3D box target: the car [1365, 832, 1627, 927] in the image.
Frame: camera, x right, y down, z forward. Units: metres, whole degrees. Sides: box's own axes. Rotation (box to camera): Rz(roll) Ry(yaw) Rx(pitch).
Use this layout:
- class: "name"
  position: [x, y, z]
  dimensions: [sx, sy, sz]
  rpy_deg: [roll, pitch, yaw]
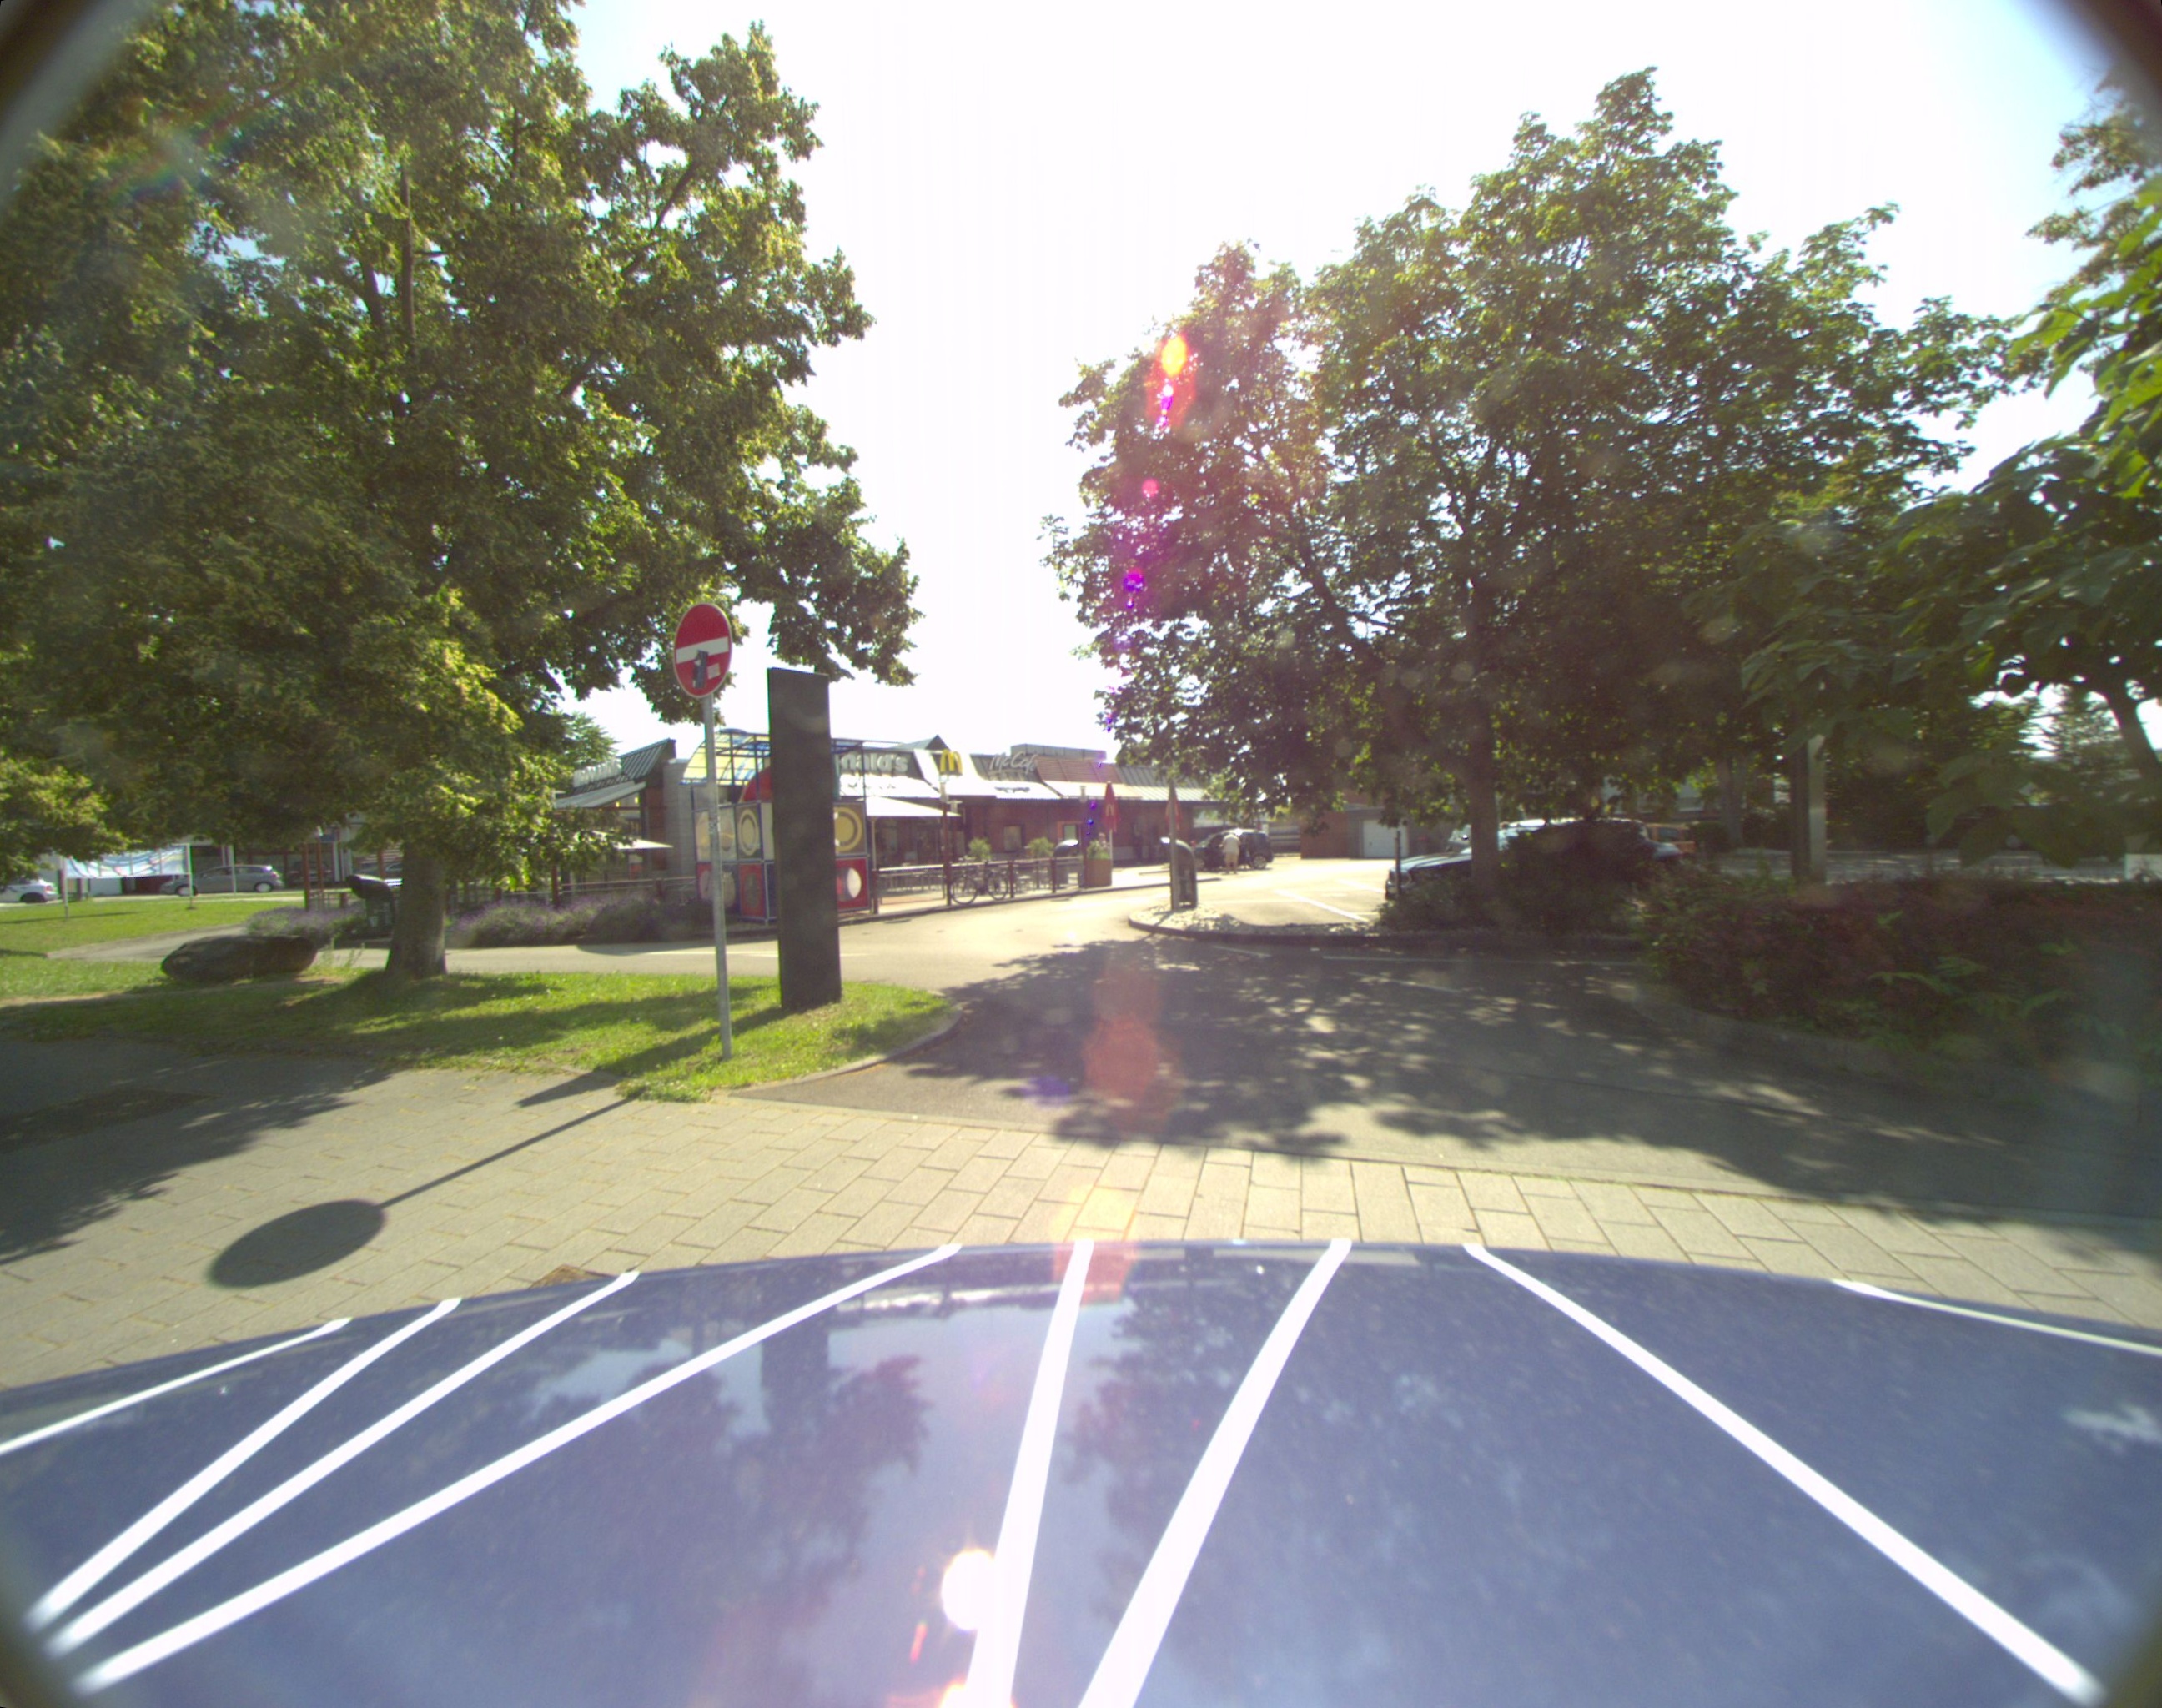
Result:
- class: "car"
  position: [7.515, 0.409, 13.937]
  dimensions: [3.999, 1.485, 1.654]
  rpy_deg: [-2, 2, -7]

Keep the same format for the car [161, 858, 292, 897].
- class: "car"
  position: [-44.127, 1.177, 39.417]
  dimensions: [1.826, 1.618, 4.379]
  rpy_deg: [4, 5, 44]

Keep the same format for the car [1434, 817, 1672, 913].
- class: "car"
  position: [10.147, 0.181, 16.482]
  dimensions: [4.227, 1.789, 1.758]
  rpy_deg: [-2, 3, -7]

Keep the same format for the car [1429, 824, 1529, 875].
- class: "car"
  position: [13.321, -0.217, 25.669]
  dimensions: [1.619, 1.523, 3.612]
  rpy_deg: [-2, 2, 3]

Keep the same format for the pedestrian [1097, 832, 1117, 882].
- class: "pedestrian"
  position: [0.856, 0.091, 24.758]
  dimensions: [0.596, 1.559, 0.571]
  rpy_deg: [-2, 3, 3]

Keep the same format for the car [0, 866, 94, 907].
- class: "car"
  position: [-48.933, 1.522, 34.726]
  dimensions: [1.826, 1.618, 4.379]
  rpy_deg: [4, 5, 44]

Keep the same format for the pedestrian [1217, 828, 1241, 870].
- class: "pedestrian"
  position: [5.897, -0.226, 30.267]
  dimensions: [0.832, 1.628, 0.789]
  rpy_deg: [-2, 2, 5]

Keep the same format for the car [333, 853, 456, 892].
- class: "car"
  position: [-35.955, 0.928, 39.918]
  dimensions: [4.623, 1.743, 1.880]
  rpy_deg: [-3, 2, -44]

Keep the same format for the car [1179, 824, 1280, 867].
- class: "car"
  position: [6.260, -0.373, 32.415]
  dimensions: [3.995, 1.648, 1.956]
  rpy_deg: [-2, 2, 5]

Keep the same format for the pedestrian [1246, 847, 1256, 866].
- class: "pedestrian"
  position: [7.017, 0.098, 31.388]
  dimensions: [0.364, 0.775, 0.336]
  rpy_deg: [-2, 2, 5]

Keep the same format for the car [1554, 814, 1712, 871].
- class: "car"
  position: [17.174, -0.378, 23.772]
  dimensions: [3.721, 1.623, 1.668]
  rpy_deg: [-2, 3, 2]

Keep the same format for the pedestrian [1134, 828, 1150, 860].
- class: "pedestrian"
  position: [3.223, -0.538, 40.140]
  dimensions: [0.540, 1.642, 0.624]
  rpy_deg: [0, 3, 44]

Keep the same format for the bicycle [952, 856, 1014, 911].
- class: "bicycle"
  position: [-2.400, 0.696, 18.779]
  dimensions: [1.615, 1.180, 0.309]
  rpy_deg: [-6, 7, -43]
